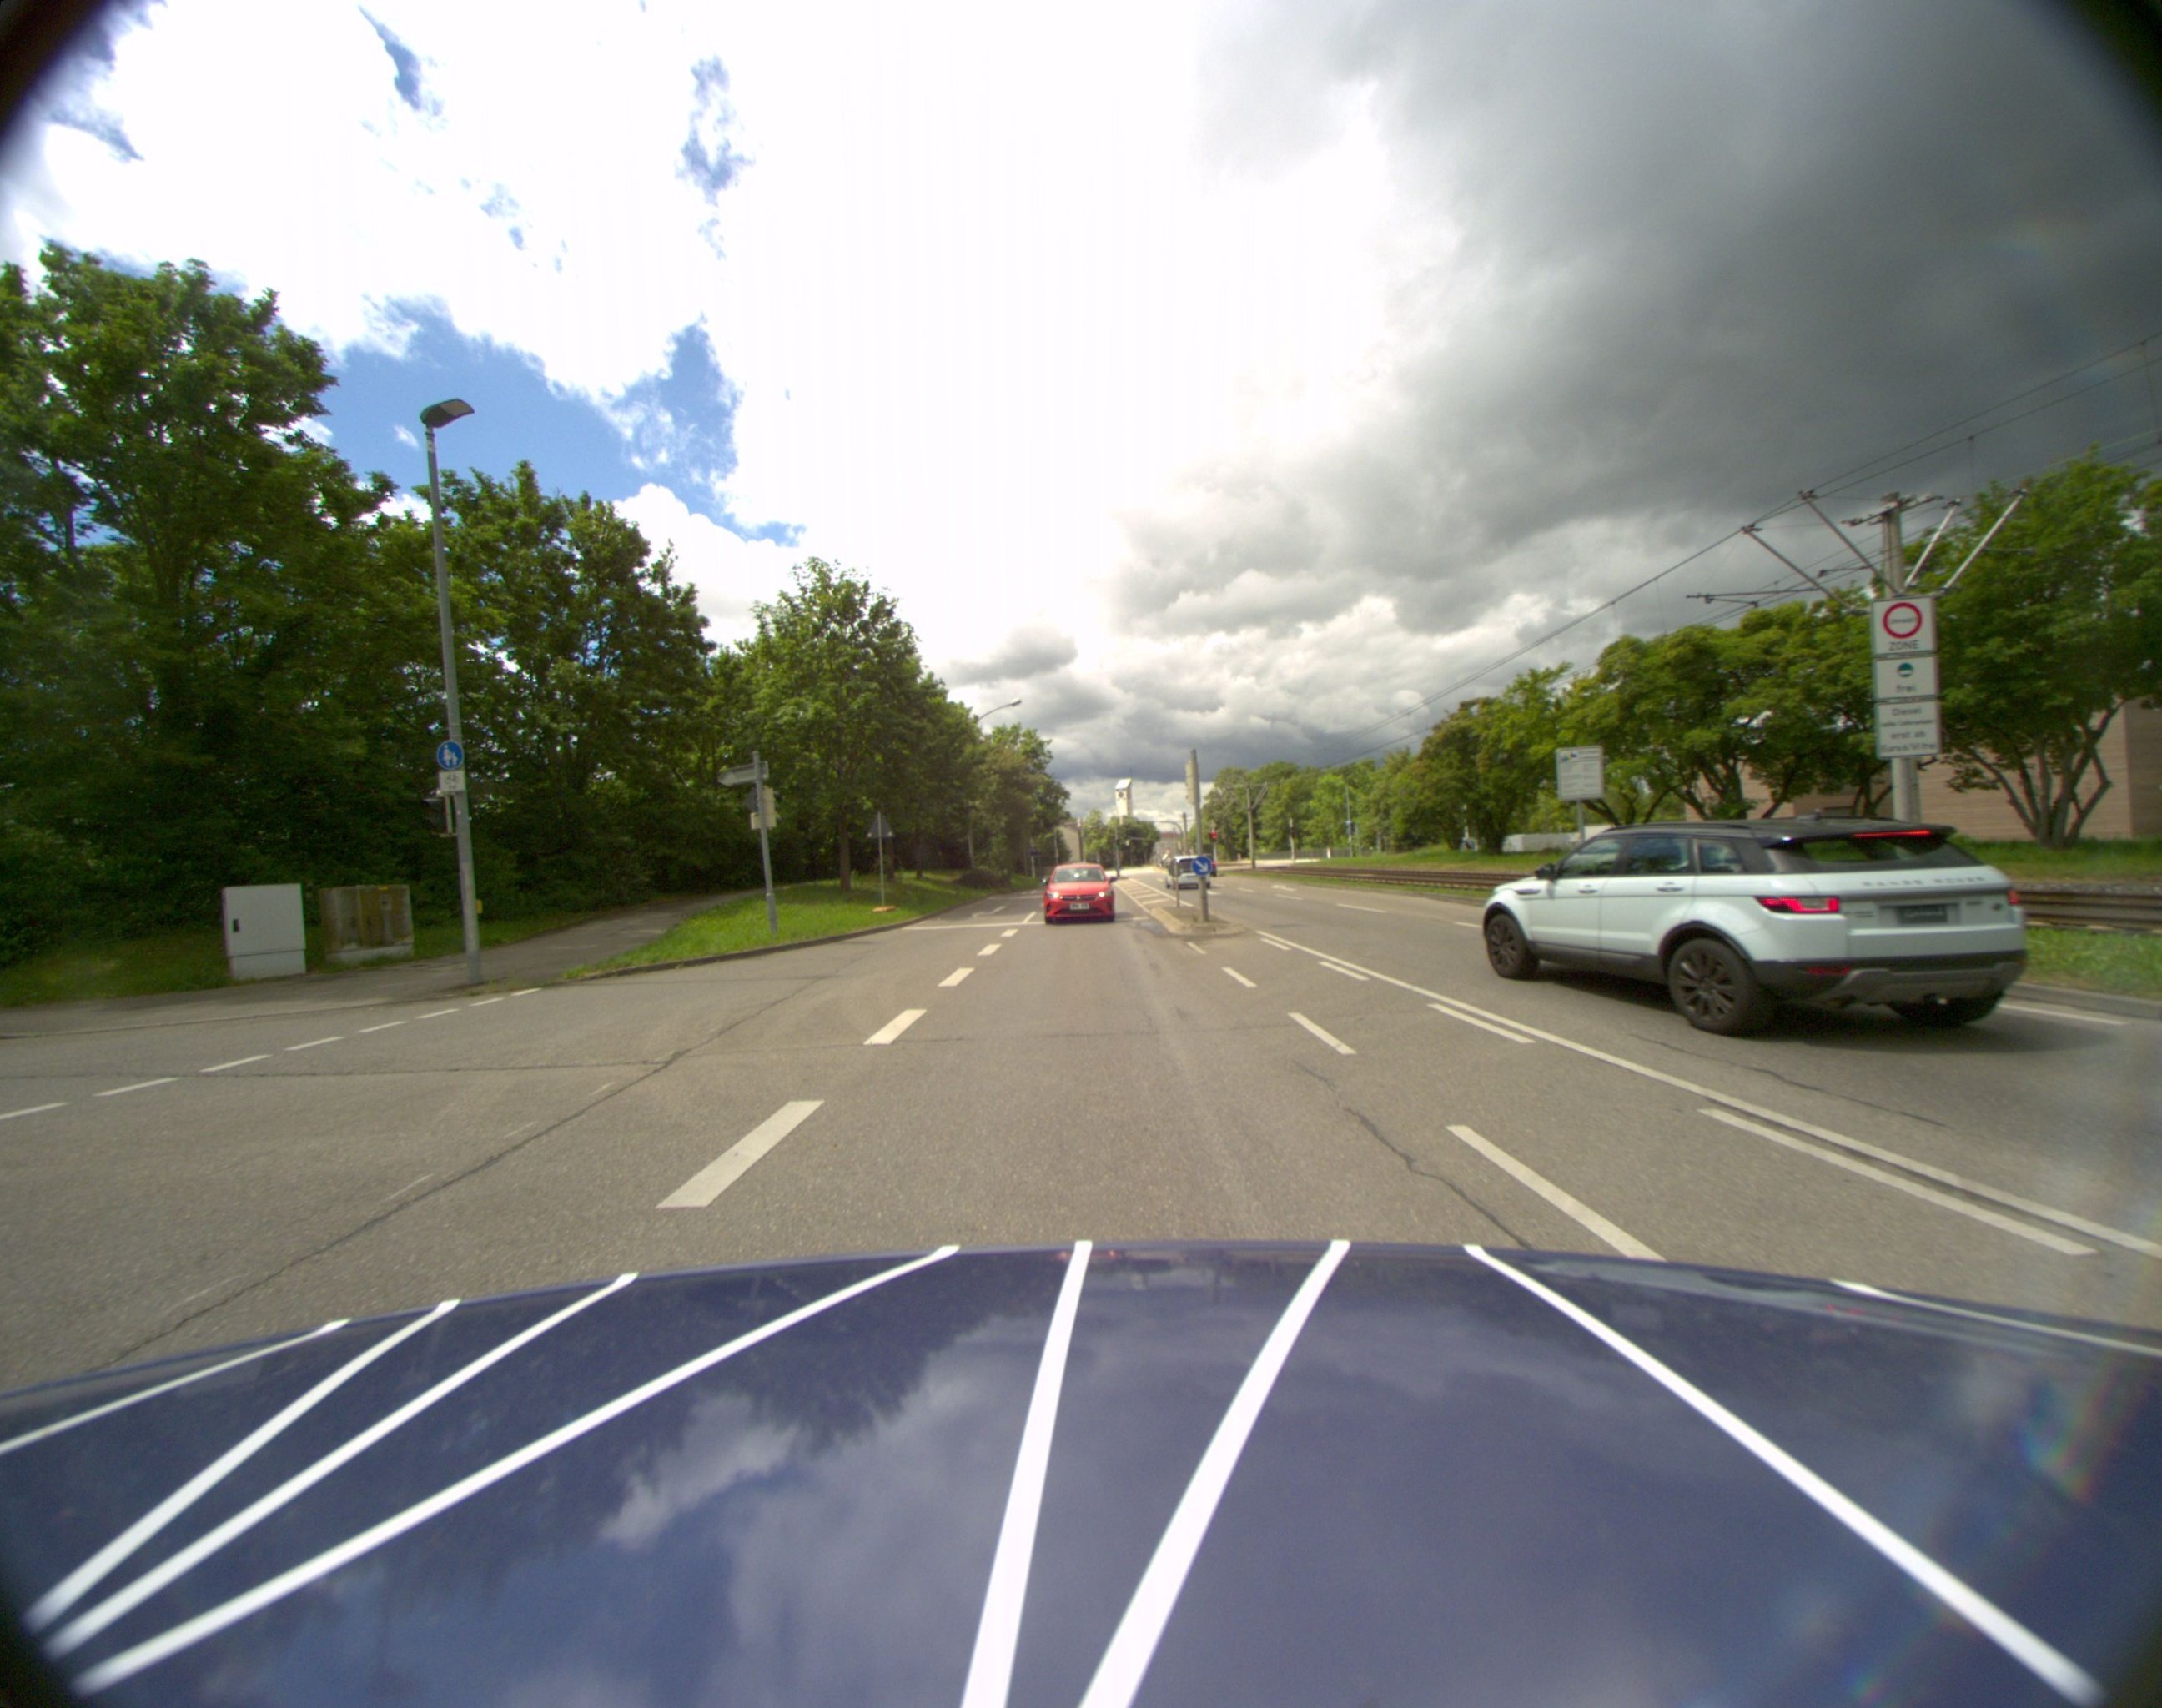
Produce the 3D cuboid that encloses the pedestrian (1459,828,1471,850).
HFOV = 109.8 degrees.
[{"bbox_3d":[29.866,-1.165,59.022,0.801,1.713,0.491,-5,1,-43],"label":"pedestrian"}]

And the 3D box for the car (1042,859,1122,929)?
[{"bbox_3d":[0.031,0.956,20.161,1.790,1.453,4.852,-4,0,0],"label":"car"}]

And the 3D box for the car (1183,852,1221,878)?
[{"bbox_3d":[8.581,0.747,54.147,1.998,1.650,4.522,-4,0,2],"label":"car"}]

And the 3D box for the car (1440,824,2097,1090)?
[{"bbox_3d":[5.480,0.641,7.134,1.865,1.601,4.606,-3,0,-2],"label":"car"}]

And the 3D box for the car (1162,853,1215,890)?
[{"bbox_3d":[5.000,0.775,35.869,1.733,1.603,4.262,-2,0,-1],"label":"car"}]
